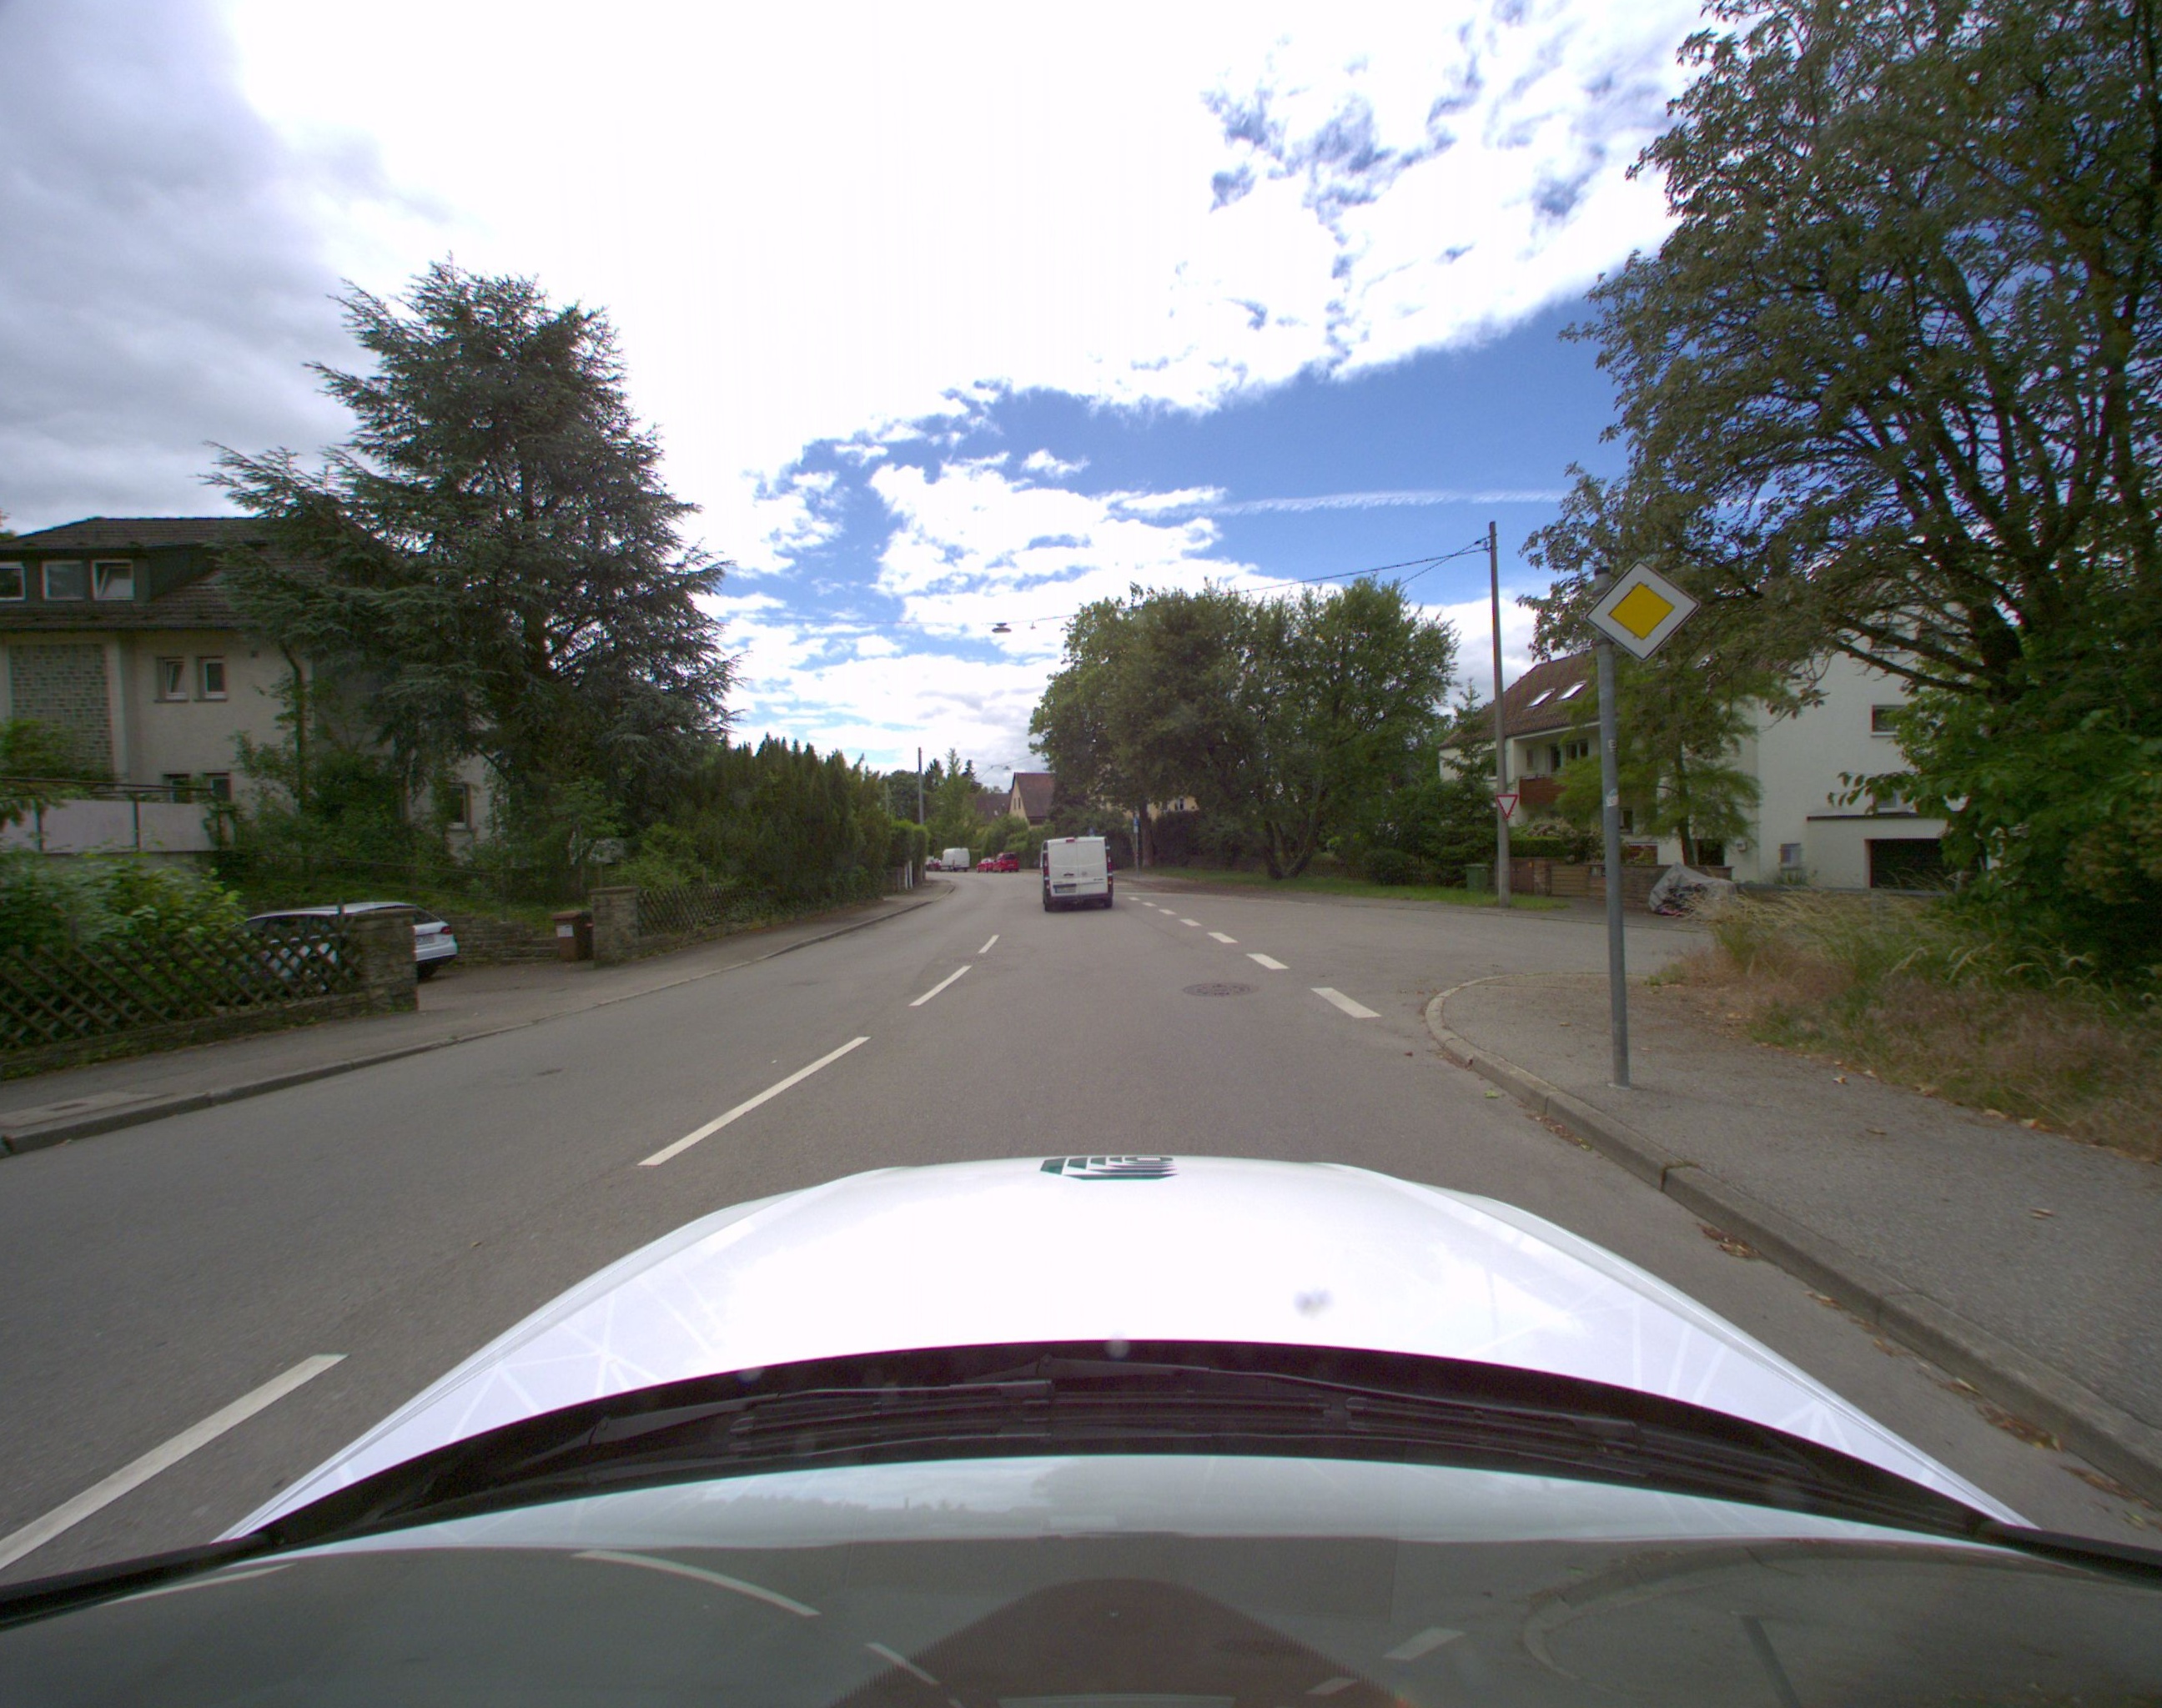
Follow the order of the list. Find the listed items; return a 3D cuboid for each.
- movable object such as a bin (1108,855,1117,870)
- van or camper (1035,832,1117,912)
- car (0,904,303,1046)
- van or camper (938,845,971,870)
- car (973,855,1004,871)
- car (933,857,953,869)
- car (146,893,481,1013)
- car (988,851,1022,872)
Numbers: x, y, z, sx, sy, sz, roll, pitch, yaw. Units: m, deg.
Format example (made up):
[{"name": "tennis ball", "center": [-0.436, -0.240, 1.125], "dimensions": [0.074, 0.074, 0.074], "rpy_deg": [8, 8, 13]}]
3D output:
[{"name": "movable object such as a bin", "center": [2.249, 0.611, 58.151], "dimensions": [0.603, 1.069, 0.567], "rpy_deg": [-1, 0, -7]}, {"name": "van or camper", "center": [-0.254, 0.390, 23.447], "dimensions": [1.921, 2.013, 4.821], "rpy_deg": [-1, 2, -5]}, {"name": "car", "center": [-13.067, 1.606, 10.935], "dimensions": [3.533, 1.420, 1.834], "rpy_deg": [-5, 1, 7]}, {"name": "van or camper", "center": [-14.296, 0.389, 91.578], "dimensions": [2.076, 2.674, 6.278], "rpy_deg": [-3, 1, -24]}, {"name": "car", "center": [-8.964, 0.865, 78.708], "dimensions": [1.721, 1.467, 4.233], "rpy_deg": [-2, 0, -25]}, {"name": "car", "center": [-16.679, 1.088, 98.245], "dimensions": [1.537, 1.304, 3.999], "rpy_deg": [-2, 0, -23]}, {"name": "car", "center": [-12.679, 1.600, 13.617], "dimensions": [3.858, 1.420, 1.926], "rpy_deg": [-5, 1, 7]}, {"name": "car", "center": [-6.965, 0.681, 74.101], "dimensions": [1.767, 1.797, 4.914], "rpy_deg": [-2, 0, -21]}]
